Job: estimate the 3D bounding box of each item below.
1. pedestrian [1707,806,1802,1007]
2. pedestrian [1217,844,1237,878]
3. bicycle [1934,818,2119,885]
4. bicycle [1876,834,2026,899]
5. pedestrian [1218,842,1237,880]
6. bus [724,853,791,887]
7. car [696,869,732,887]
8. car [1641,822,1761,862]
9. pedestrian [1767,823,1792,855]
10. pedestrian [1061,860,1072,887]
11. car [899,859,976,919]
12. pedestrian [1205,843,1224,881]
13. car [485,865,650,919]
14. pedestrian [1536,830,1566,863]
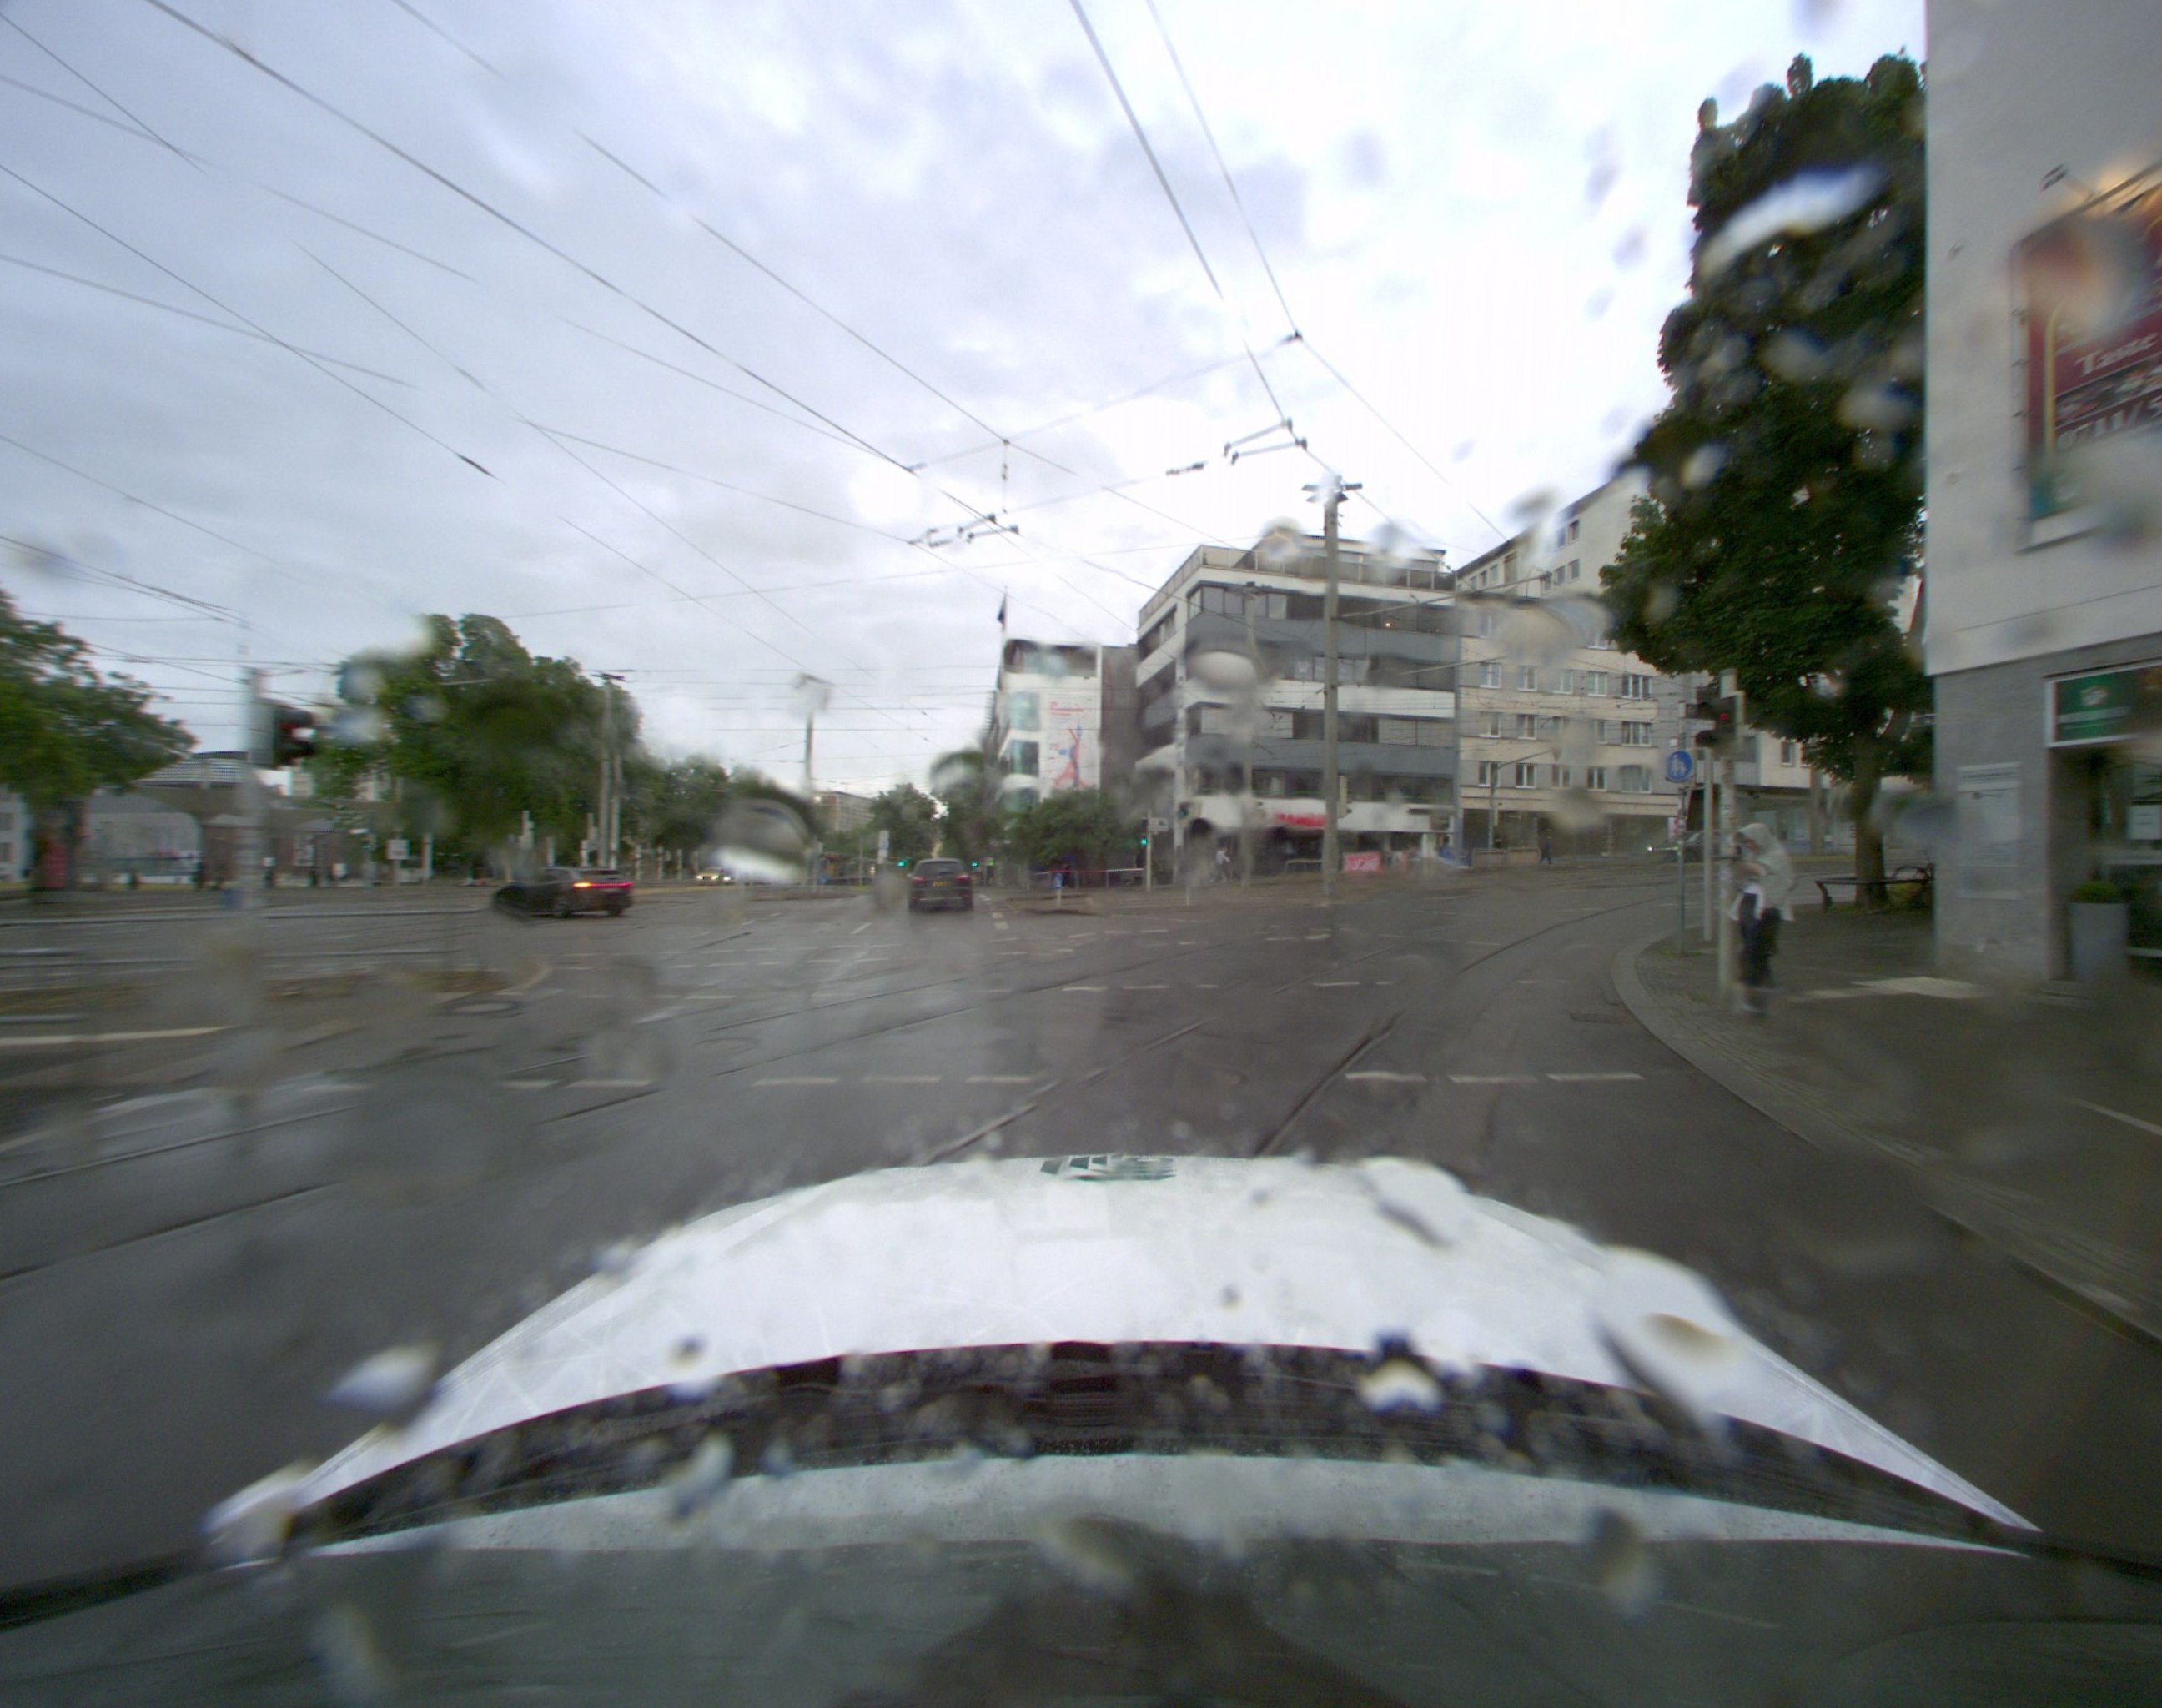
[{"bbox_3d":[6.073,0.447,7.375,0.522,1.712,0.710,-2,-1,30],"label":"pedestrian"},{"bbox_3d":[7.569,0.370,42.242,0.710,1.762,0.702,-2,-1,37],"label":"pedestrian"},{"bbox_3d":[17.977,-0.029,15.589,0.647,1.174,2.317,-1,-1,-8],"label":"bicycle"},{"bbox_3d":[16.063,0.232,15.110,0.647,1.092,1.817,-3,0,-8],"label":"bicycle"},{"bbox_3d":[7.422,0.339,41.347,0.710,1.914,0.702,-2,-1,30],"label":"pedestrian"},{"bbox_3d":[-33.751,1.653,85.636,3.073,3.301,12.496,-1,-1,-6],"label":"bus"},{"bbox_3d":[-36.194,2.313,80.411,1.992,1.646,4.525,-1,-1,-7],"label":"car"},{"bbox_3d":[29.202,-0.560,38.402,4.515,1.673,1.992,-2,-1,-12],"label":"car"},{"bbox_3d":[39.542,-0.852,46.099,0.908,1.738,0.596,-2,-1,-14],"label":"pedestrian"},{"bbox_3d":[-0.833,1.140,47.489,0.538,1.563,0.523,-1,-1,12],"label":"pedestrian"},{"bbox_3d":[-4.121,0.960,23.923,2.034,1.584,4.380,0,0,-8],"label":"car"},{"bbox_3d":[6.724,0.409,40.900,0.710,1.914,0.702,-2,-1,30],"label":"pedestrian"},{"bbox_3d":[-15.580,1.123,24.681,4.672,1.506,2.118,-1,-1,27],"label":"car"},{"bbox_3d":[25.012,-0.401,43.359,0.997,1.681,0.886,-2,-1,-14],"label":"pedestrian"}]
